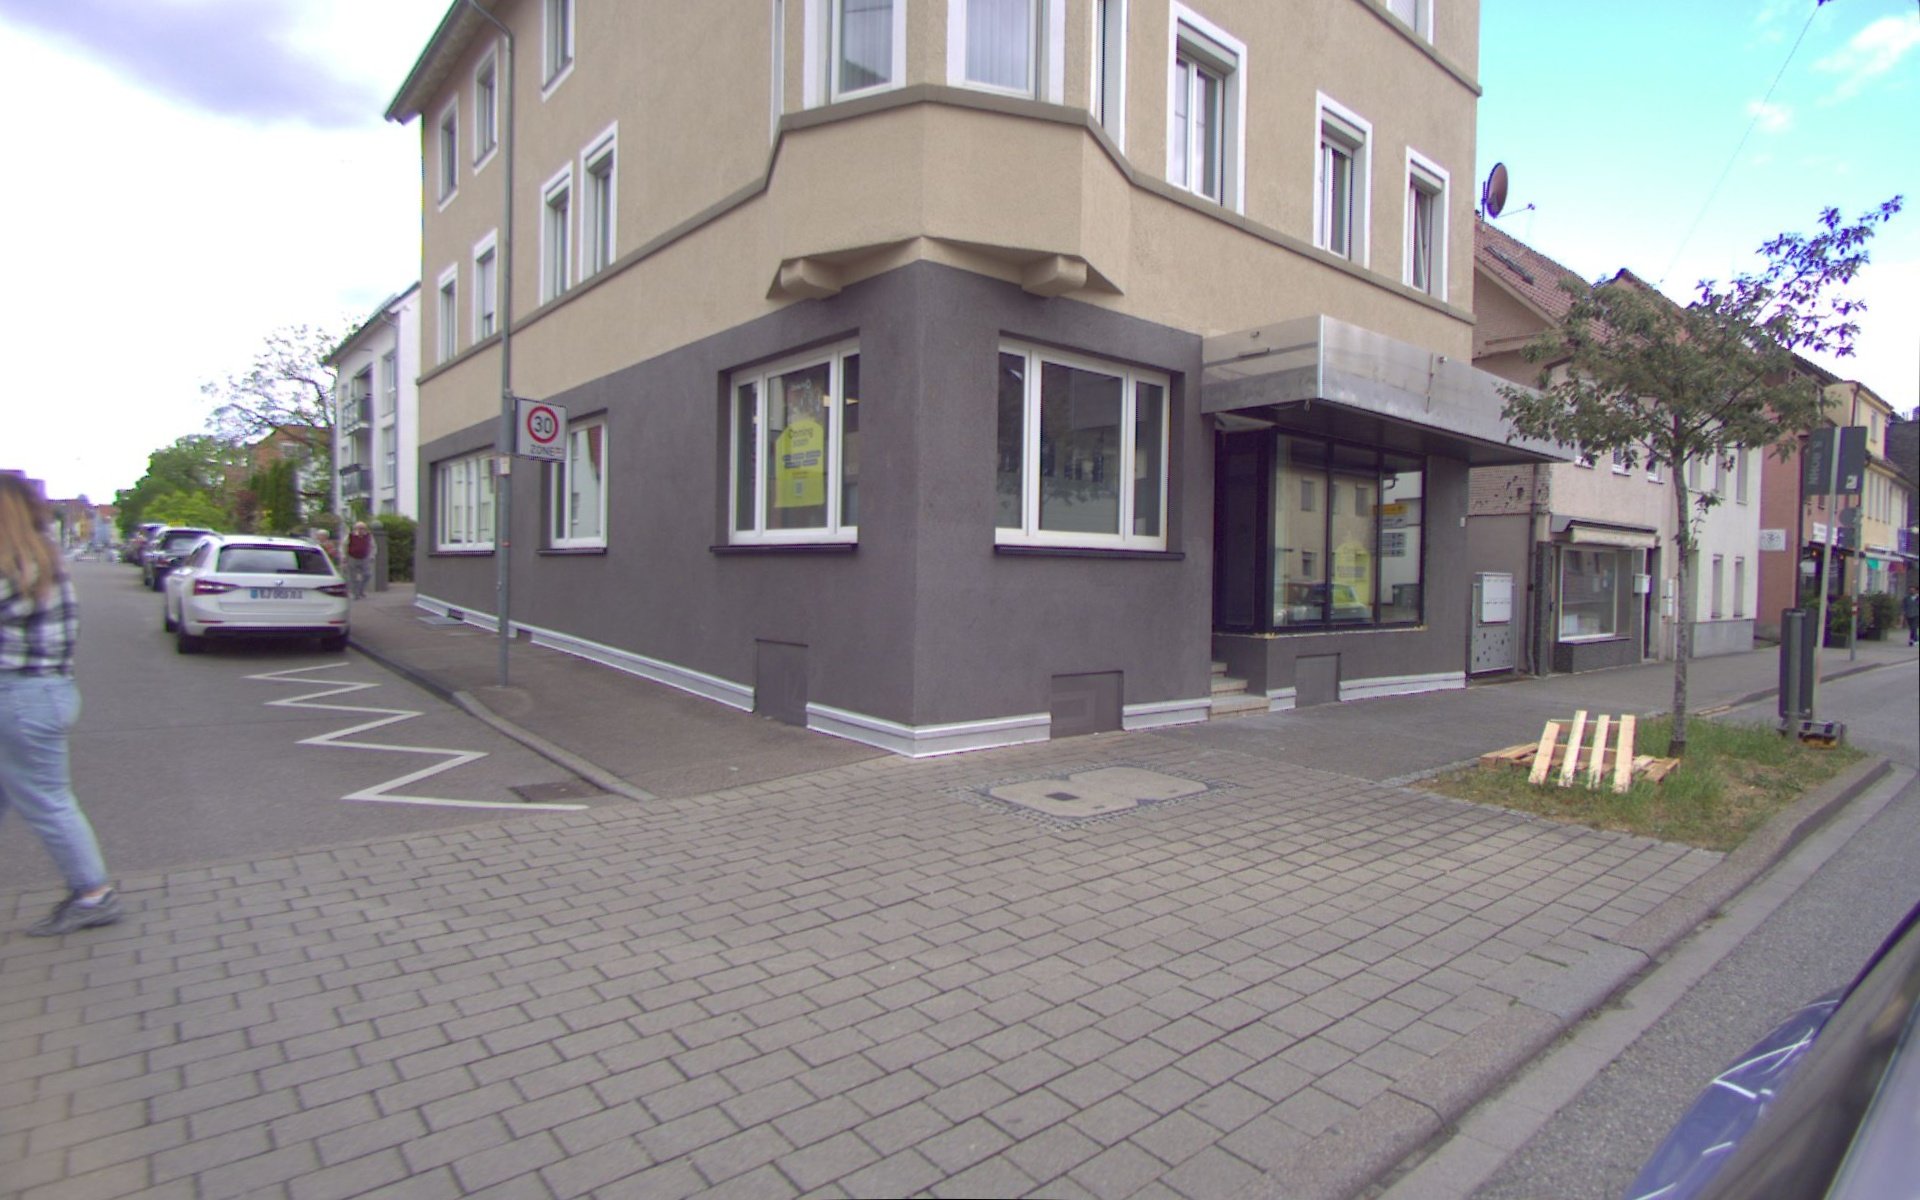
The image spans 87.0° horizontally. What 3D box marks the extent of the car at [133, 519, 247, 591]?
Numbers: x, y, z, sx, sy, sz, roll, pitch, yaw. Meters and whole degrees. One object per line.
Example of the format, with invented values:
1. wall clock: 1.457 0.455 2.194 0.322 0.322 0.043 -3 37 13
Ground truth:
1. car: -18.376 -1.100 24.071 1.875 1.489 4.434 1 3 -41

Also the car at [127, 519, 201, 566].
1. car: -28.507 -2.084 36.181 1.875 1.489 4.434 1 3 -41

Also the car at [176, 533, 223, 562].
1. car: -44.846 -3.089 59.650 1.875 1.489 4.434 1 3 -41

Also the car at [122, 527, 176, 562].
1. car: -38.962 -2.666 48.571 1.875 1.489 4.434 1 3 -41

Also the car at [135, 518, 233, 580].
1. car: -21.518 -1.445 27.993 1.875 1.489 4.434 1 3 -41

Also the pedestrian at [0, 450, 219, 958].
1. pedestrian: -3.406 0.351 3.863 0.884 1.741 0.752 0 1 -40

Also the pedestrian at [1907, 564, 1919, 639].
1. pedestrian: 27.568 0.067 28.704 0.994 2.099 0.825 -1 5 -43

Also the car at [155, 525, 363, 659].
1. car: -9.720 -0.207 13.867 1.875 1.489 4.434 1 3 -41
